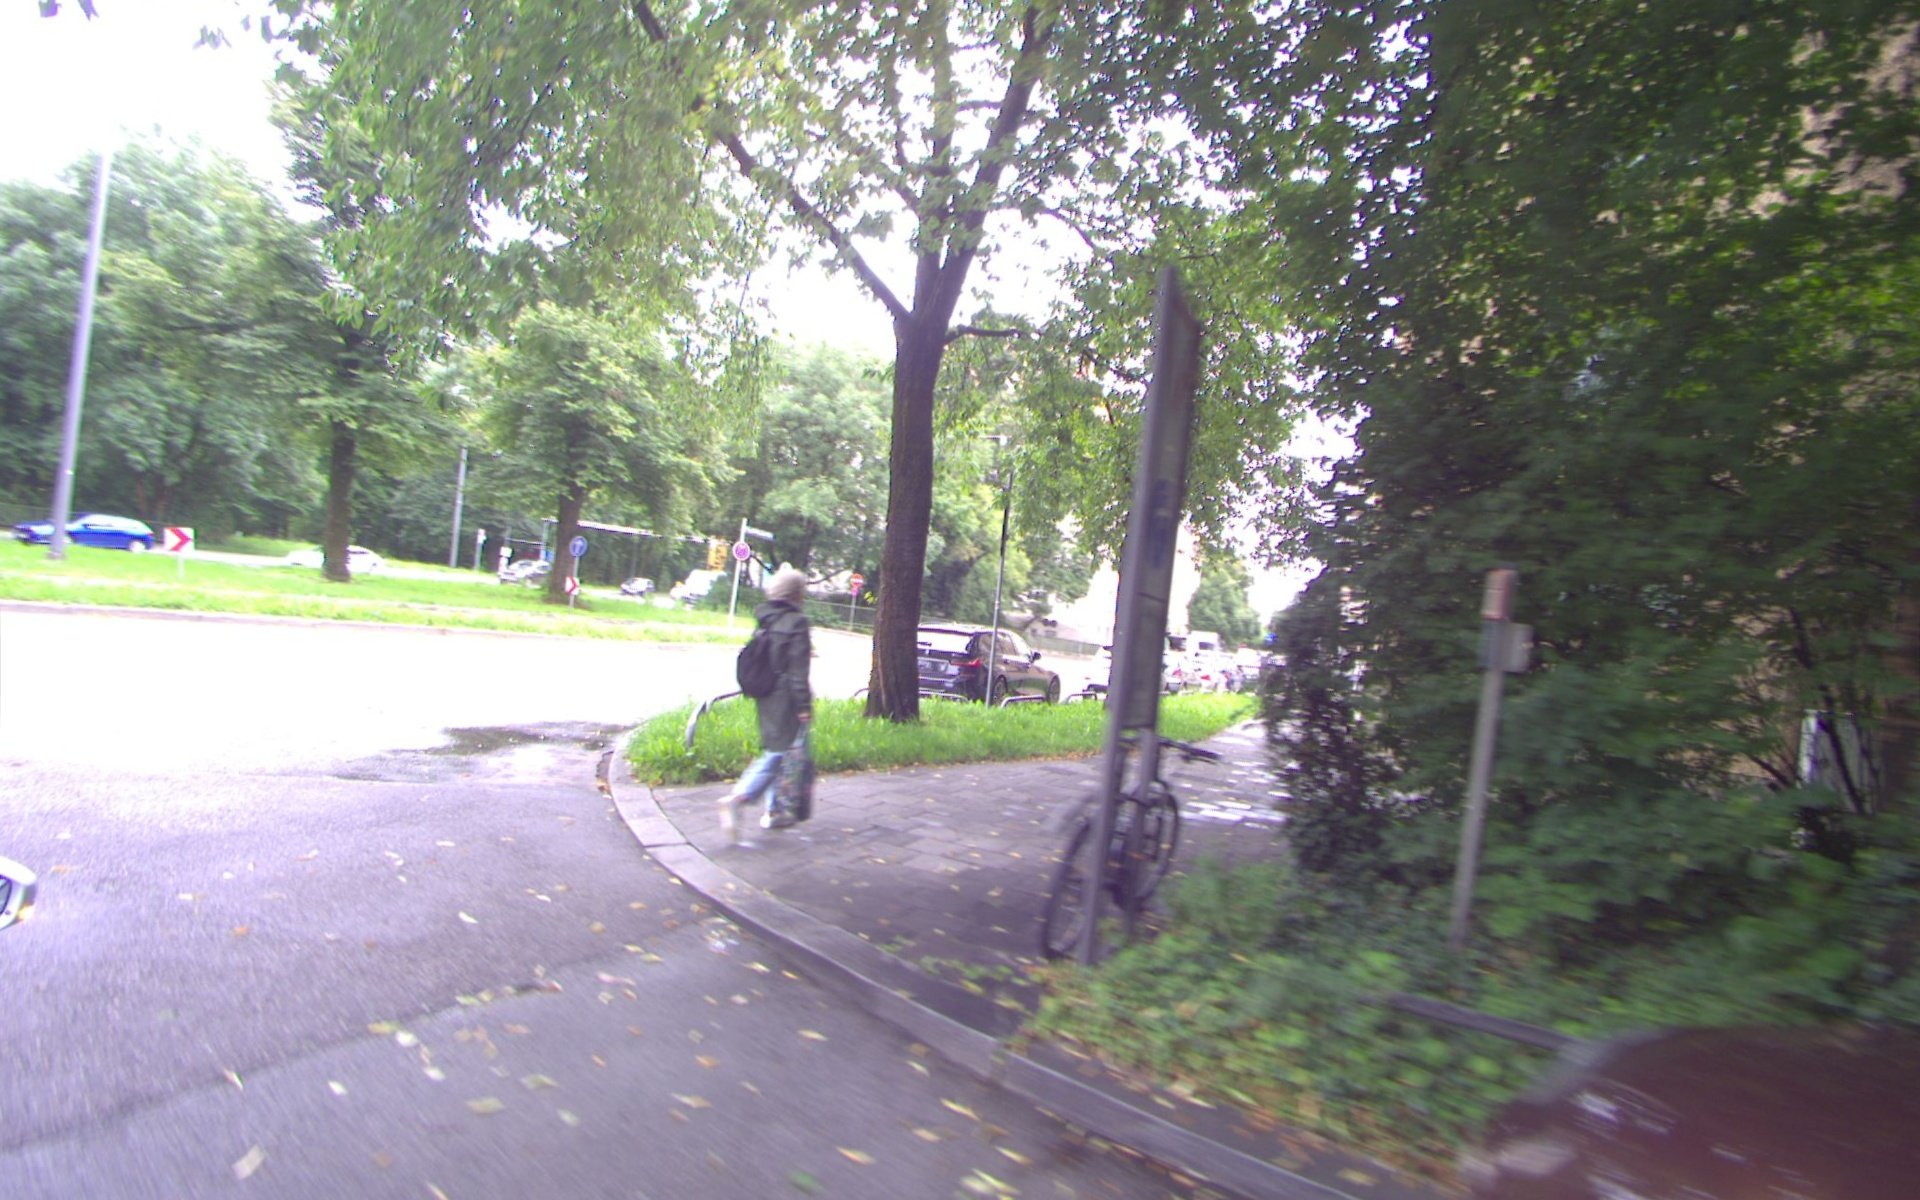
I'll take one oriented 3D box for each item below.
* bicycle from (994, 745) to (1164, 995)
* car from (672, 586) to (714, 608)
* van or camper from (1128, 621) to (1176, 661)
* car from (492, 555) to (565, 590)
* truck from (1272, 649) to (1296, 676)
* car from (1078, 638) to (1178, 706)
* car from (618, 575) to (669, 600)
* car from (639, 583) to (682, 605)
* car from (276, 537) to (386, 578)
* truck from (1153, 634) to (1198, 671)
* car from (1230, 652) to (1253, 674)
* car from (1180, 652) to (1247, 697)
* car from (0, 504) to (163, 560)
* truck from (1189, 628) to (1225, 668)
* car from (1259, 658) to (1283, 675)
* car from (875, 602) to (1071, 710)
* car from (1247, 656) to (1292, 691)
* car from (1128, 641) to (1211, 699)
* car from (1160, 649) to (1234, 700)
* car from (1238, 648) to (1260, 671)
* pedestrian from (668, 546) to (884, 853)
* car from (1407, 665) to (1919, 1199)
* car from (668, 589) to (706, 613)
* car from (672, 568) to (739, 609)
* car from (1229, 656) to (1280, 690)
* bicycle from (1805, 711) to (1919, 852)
[{"bbox_3d":[0.560,1.127,4.443,0.245,0.891,1.078,6,-1,30],"label":"bicycle"},{"bbox_3d":[-21.692,-0.218,81.813,1.861,1.464,4.302,6,-1,4],"label":"car"},{"bbox_3d":[15.771,3.400,82.222,2.561,2.875,6.185,7,0,21],"label":"van or camper"},{"bbox_3d":[-28.001,-1.763,65.448,1.962,1.738,4.653,6,-2,12],"label":"car"},{"bbox_3d":[41.539,7.999,128.988,2.453,3.009,5.329,7,-1,20],"label":"truck"},{"bbox_3d":[4.520,1.909,26.621,1.604,1.514,3.820,5,-2,24],"label":"car"},{"bbox_3d":[-23.910,-0.912,76.194,1.861,1.464,4.036,6,-1,12],"label":"car"},{"bbox_3d":[-24.285,-0.461,81.680,1.798,1.463,4.240,6,-2,5],"label":"car"},{"bbox_3d":[-30.784,-2.056,49.407,1.962,1.463,4.428,6,-2,12],"label":"car"},{"bbox_3d":[19.658,4.773,91.565,2.731,2.908,7.201,7,0,20],"label":"truck"},{"bbox_3d":[30.429,6.804,108.685,1.963,2.038,4.001,6,-1,20],"label":"car"},{"bbox_3d":[10.129,2.974,39.922,1.731,1.514,4.486,5,-2,24],"label":"car"},{"bbox_3d":[-33.398,-2.531,38.346,1.962,1.463,4.428,6,-2,12],"label":"car"},{"bbox_3d":[27.921,5.428,113.501,2.966,3.999,6.999,7,-1,19],"label":"truck"},{"bbox_3d":[32.343,6.892,104.616,1.960,1.447,4.140,7,0,21],"label":"car"},{"bbox_3d":[0.386,0.992,17.329,1.765,1.514,4.376,3,-3,23],"label":"car"},{"bbox_3d":[17.242,4.114,55.969,1.730,1.699,4.706,5,-2,24],"label":"car"},{"bbox_3d":[6.478,2.153,30.840,1.604,1.514,3.786,5,-2,24],"label":"car"},{"bbox_3d":[8.415,2.632,35.440,1.665,1.514,4.433,5,-2,24],"label":"car"},{"bbox_3d":[35.176,7.263,122.446,1.910,2.510,4.783,7,-1,22],"label":"car"},{"bbox_3d":[-1.084,0.580,6.102,0.661,1.642,0.980,7,-1,25],"label":"pedestrian"},{"bbox_3d":[2.530,1.065,1.077,3.642,1.515,1.733,6,-1,25],"label":"car"},{"bbox_3d":[-24.839,0.126,91.576,1.664,1.896,4.004,6,-1,10],"label":"car"},{"bbox_3d":[-17.610,-0.781,69.961,2.264,2.296,5.133,6,-1,12],"label":"car"},{"bbox_3d":[15.112,3.761,51.463,1.731,1.514,3.820,5,-2,27],"label":"car"},{"bbox_3d":[9.810,1.857,9.671,2.387,1.232,0.704,6,-1,20],"label":"bicycle"}]
